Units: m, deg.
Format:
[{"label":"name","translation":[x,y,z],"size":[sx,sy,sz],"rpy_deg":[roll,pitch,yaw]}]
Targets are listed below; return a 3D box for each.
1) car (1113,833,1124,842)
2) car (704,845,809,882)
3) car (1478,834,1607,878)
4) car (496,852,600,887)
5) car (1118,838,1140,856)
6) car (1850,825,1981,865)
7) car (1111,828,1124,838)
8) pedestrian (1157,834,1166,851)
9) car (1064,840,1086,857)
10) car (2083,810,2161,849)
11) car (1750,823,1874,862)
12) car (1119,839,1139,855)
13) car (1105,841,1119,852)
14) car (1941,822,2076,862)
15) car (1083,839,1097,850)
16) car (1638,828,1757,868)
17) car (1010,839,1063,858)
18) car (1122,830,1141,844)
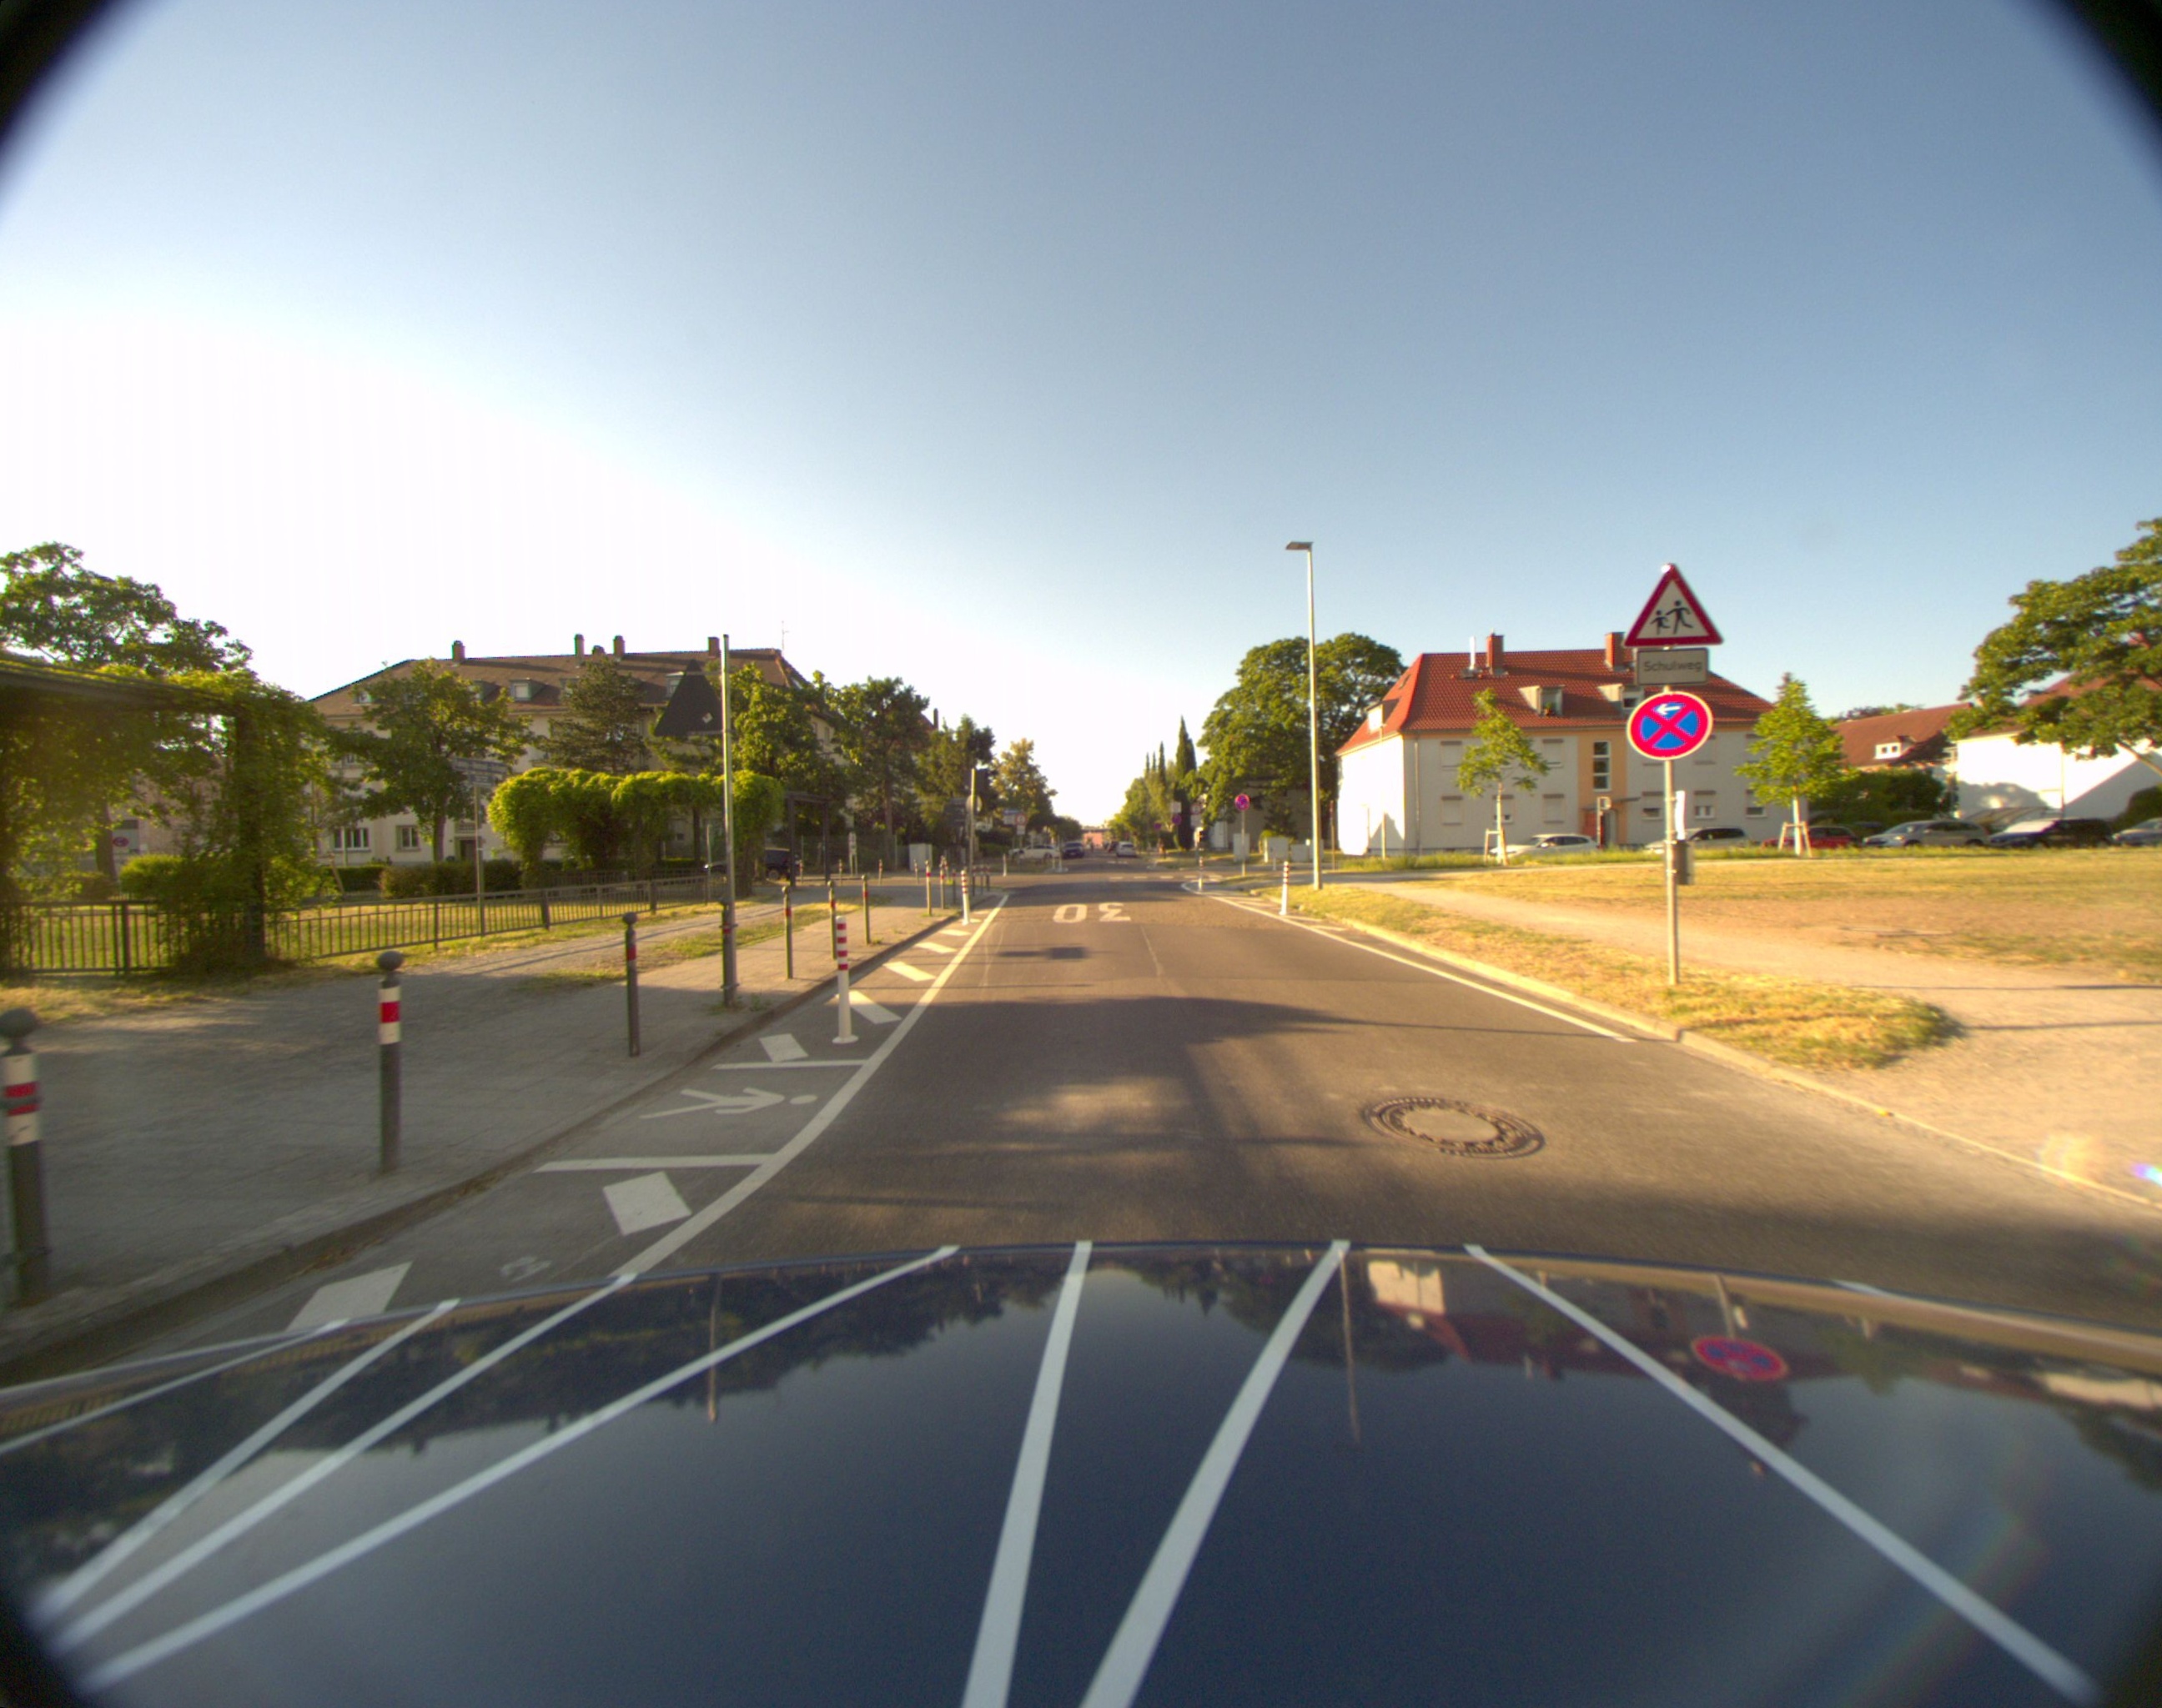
[{"label":"car","translation":[7.495,-3.319,152.533],"size":[1.970,1.605,4.246],"rpy_deg":[-2,1,0]},{"label":"car","translation":[-15.463,0.464,36.324],"size":[4.213,1.631,1.823],"rpy_deg":[-2,-1,0]},{"label":"car","translation":[19.435,0.085,32.131],"size":[4.298,1.685,1.871],"rpy_deg":[-2,0,-1]},{"label":"car","translation":[-25.916,0.725,37.027],"size":[3.769,1.517,1.770],"rpy_deg":[-2,2,3]},{"label":"car","translation":[4.800,-0.725,76.078],"size":[1.970,1.605,4.246],"rpy_deg":[-2,1,0]},{"label":"car","translation":[38.485,-0.397,35.111],"size":[3.997,1.685,1.851],"rpy_deg":[-2,0,-1]},{"label":"car","translation":[6.541,-3.778,136.400],"size":[1.970,1.605,4.246],"rpy_deg":[-2,1,-1]},{"label":"pedestrian","translation":[9.537,-1.349,90.178],"size":[0.898,2.002,0.692],"rpy_deg":[-2,2,0]},{"label":"car","translation":[-0.633,-0.583,74.638],"size":[1.971,1.605,4.245],"rpy_deg":[-2,1,-3]},{"label":"car","translation":[49.729,-1.157,35.284],"size":[3.997,1.685,1.851],"rpy_deg":[-2,0,-1]},{"label":"car","translation":[33.982,-0.508,35.392],"size":[3.997,1.685,1.851],"rpy_deg":[-2,0,-1]},{"label":"car","translation":[5.299,-0.811,84.587],"size":[1.970,1.605,4.246],"rpy_deg":[-2,1,0]},{"label":"car","translation":[4.938,-1.240,121.592],"size":[1.970,1.605,4.246],"rpy_deg":[-2,1,0]},{"label":"car","translation":[42.949,-0.539,35.236],"size":[3.997,1.685,1.851],"rpy_deg":[-2,0,-1]},{"label":"car","translation":[1.337,-1.399,114.422],"size":[1.971,1.605,4.245],"rpy_deg":[-2,1,-3]},{"label":"car","translation":[28.607,-0.278,35.348],"size":[3.997,1.685,1.851],"rpy_deg":[-2,0,-1]},{"label":"car","translation":[-4.139,-0.547,71.034],"size":[4.835,1.605,1.971],"rpy_deg":[-2,2,-1]},{"label":"car","translation":[6.002,-2.003,90.254],"size":[1.970,1.605,4.246],"rpy_deg":[-2,1,0]}]
